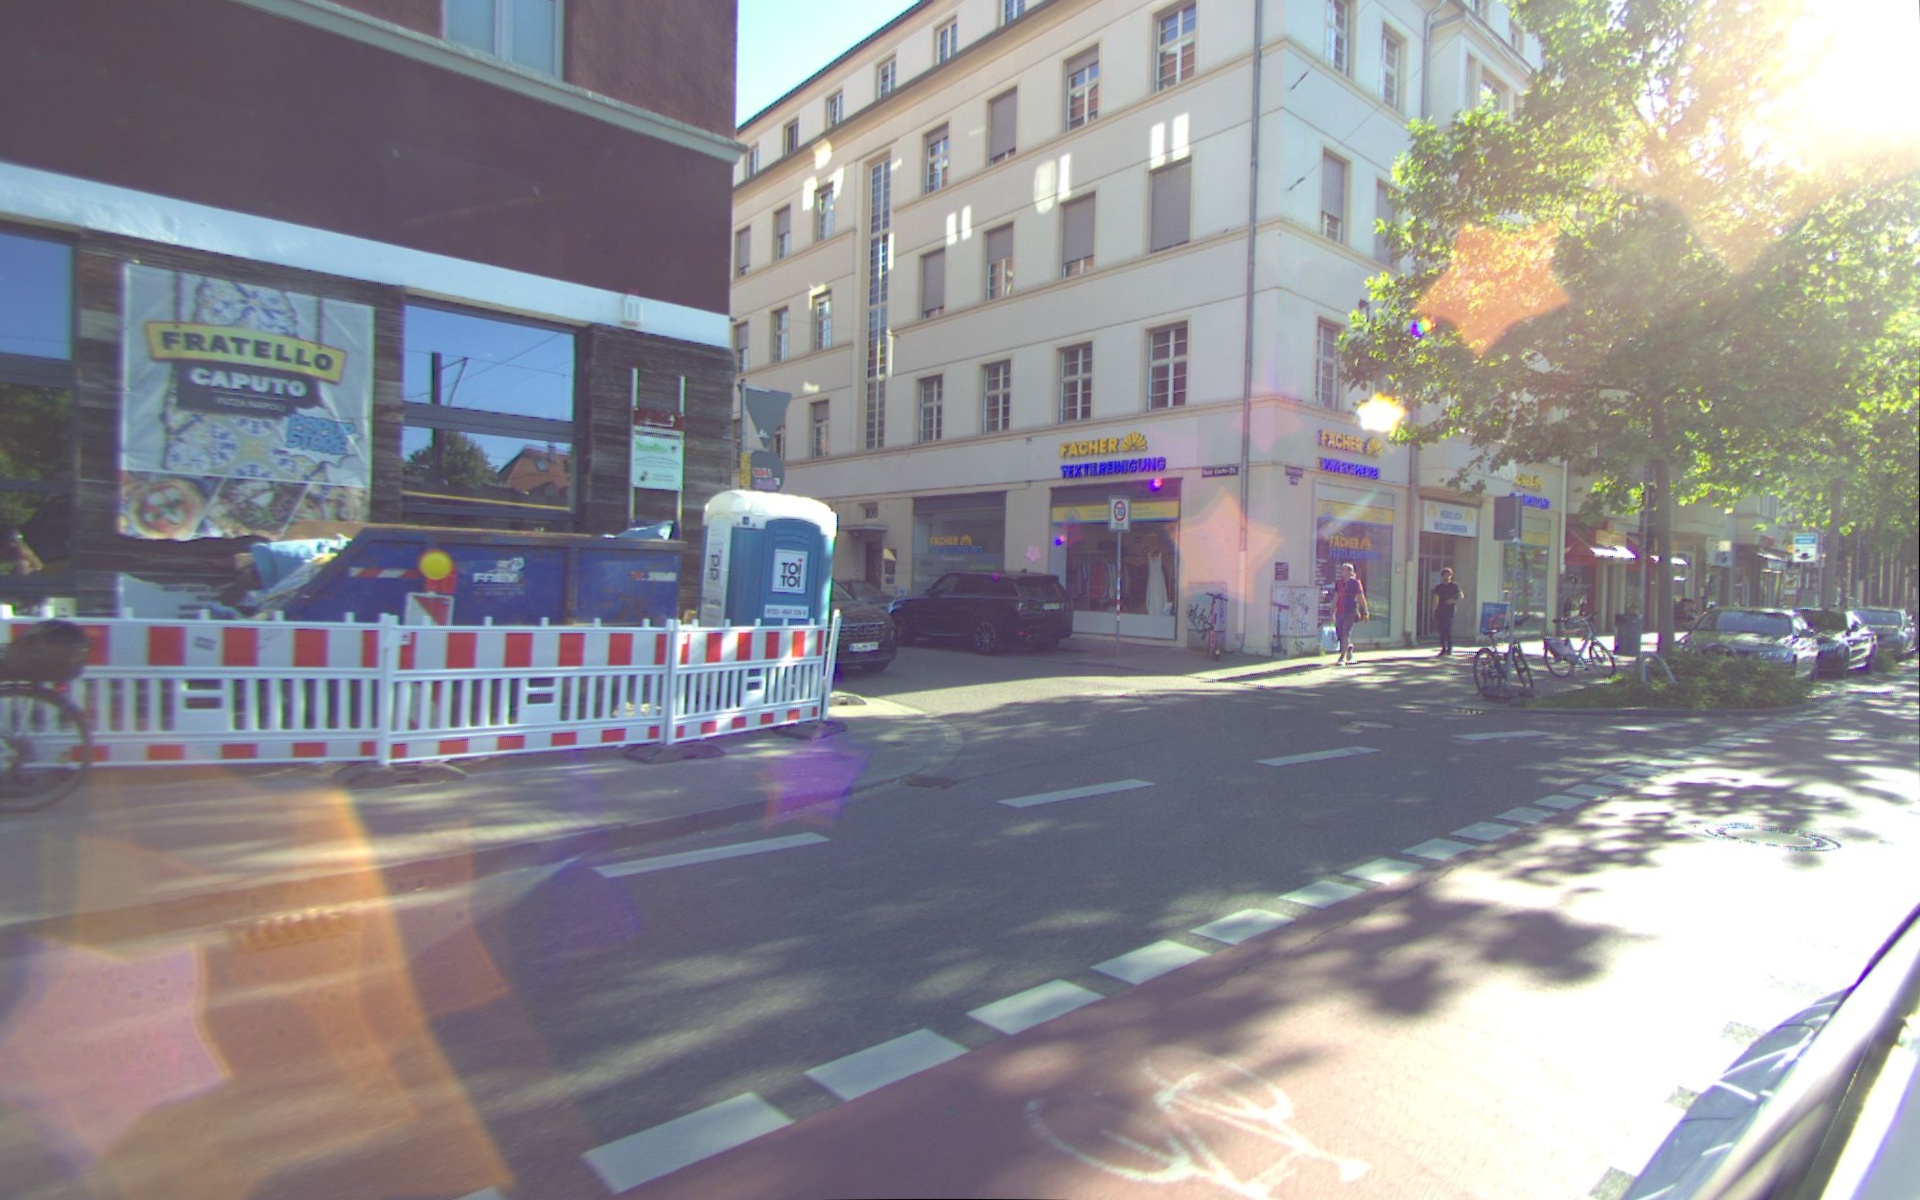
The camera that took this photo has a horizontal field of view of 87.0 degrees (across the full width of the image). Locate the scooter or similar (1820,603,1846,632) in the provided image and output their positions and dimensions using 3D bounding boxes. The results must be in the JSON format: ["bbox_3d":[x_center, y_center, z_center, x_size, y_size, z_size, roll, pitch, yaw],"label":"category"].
[{"bbox_3d":[37.171,0.748,43.080,0.835,1.186,0.745,0,2,-44],"label":"scooter or similar"}]

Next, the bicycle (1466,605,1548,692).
[{"bbox_3d":[8.131,0.673,14.999,0.580,1.177,2.204,-1,0,41],"label":"bicycle"}]

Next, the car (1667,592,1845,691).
[{"bbox_3d":[14.720,0.671,18.627,4.358,1.574,1.792,0,2,-41],"label":"car"}]

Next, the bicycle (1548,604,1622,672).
[{"bbox_3d":[11.026,0.649,17.841,1.658,1.150,0.489,0,0,-36],"label":"bicycle"}]

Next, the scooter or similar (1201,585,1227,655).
[{"bbox_3d":[4.838,0.366,19.250,0.377,1.302,1.199,0,0,19],"label":"scooter or similar"}]

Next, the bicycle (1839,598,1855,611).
[{"bbox_3d":[58.548,0.311,66.789,1.634,0.783,0.550,0,3,-42],"label":"bicycle"}]

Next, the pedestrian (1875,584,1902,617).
[{"bbox_3d":[57.946,0.005,63.162,1.027,2.039,1.090,0,0,-40],"label":"pedestrian"}]

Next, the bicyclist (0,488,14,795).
[{"bbox_3d":[-5.552,0.236,5.412,0.585,1.711,0.603,1,1,-30],"label":"bicyclist"}]

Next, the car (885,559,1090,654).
[{"bbox_3d":[0.494,0.119,22.060,1.965,1.839,4.531,0,0,-41],"label":"car"}]

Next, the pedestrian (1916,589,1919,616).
[{"bbox_3d":[66.307,0.155,69.556,0.877,1.850,0.646,0,0,-30],"label":"pedestrian"}]

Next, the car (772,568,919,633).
[{"bbox_3d":[-3.048,0.019,26.315,1.964,1.549,3.996,0,0,-39],"label":"car"}]

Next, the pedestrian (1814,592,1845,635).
[{"bbox_3d":[36.315,0.550,42.269,0.901,1.726,0.860,0,1,-43],"label":"pedestrian"}]

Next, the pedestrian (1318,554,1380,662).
[{"bbox_3d":[7.195,0.129,18.736,0.848,1.923,0.715,0,2,-41],"label":"pedestrian"}]

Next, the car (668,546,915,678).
[{"bbox_3d":[-2.811,0.099,16.160,1.961,1.810,4.307,-2,2,-40],"label":"car"}]

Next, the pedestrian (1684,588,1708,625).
[{"bbox_3d":[27.433,0.223,37.719,0.806,1.349,0.536,0,2,-41],"label":"pedestrian"}]

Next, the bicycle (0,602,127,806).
[{"bbox_3d":[-5.600,0.563,5.469,1.650,1.099,0.319,1,1,-29],"label":"bicycle"}]

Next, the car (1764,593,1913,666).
[{"bbox_3d":[20.687,0.625,23.777,4.513,1.528,2.042,0,1,-41],"label":"car"}]

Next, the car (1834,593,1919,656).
[{"bbox_3d":[25.908,0.644,28.274,3.735,1.520,1.698,0,3,-41],"label":"car"}]

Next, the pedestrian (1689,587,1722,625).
[{"bbox_3d":[28.197,0.211,38.267,0.842,1.386,0.787,0,2,-40],"label":"pedestrian"}]

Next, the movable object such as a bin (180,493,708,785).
[{"bbox_3d":[-4.126,0.239,8.391,1.945,1.866,3.425,2,1,43],"label":"movable object such as a bin"}]

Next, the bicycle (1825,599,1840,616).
[{"bbox_3d":[53.243,0.479,61.746,1.850,1.010,0.415,0,1,-42],"label":"bicycle"}]

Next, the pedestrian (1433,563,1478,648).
[{"bbox_3d":[10.349,0.112,21.155,0.757,1.732,0.559,1,1,-41],"label":"pedestrian"}]

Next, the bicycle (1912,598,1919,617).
[{"bbox_3d":[55.726,0.437,57.610,0.447,1.107,2.227,0,0,-39],"label":"bicycle"}]
